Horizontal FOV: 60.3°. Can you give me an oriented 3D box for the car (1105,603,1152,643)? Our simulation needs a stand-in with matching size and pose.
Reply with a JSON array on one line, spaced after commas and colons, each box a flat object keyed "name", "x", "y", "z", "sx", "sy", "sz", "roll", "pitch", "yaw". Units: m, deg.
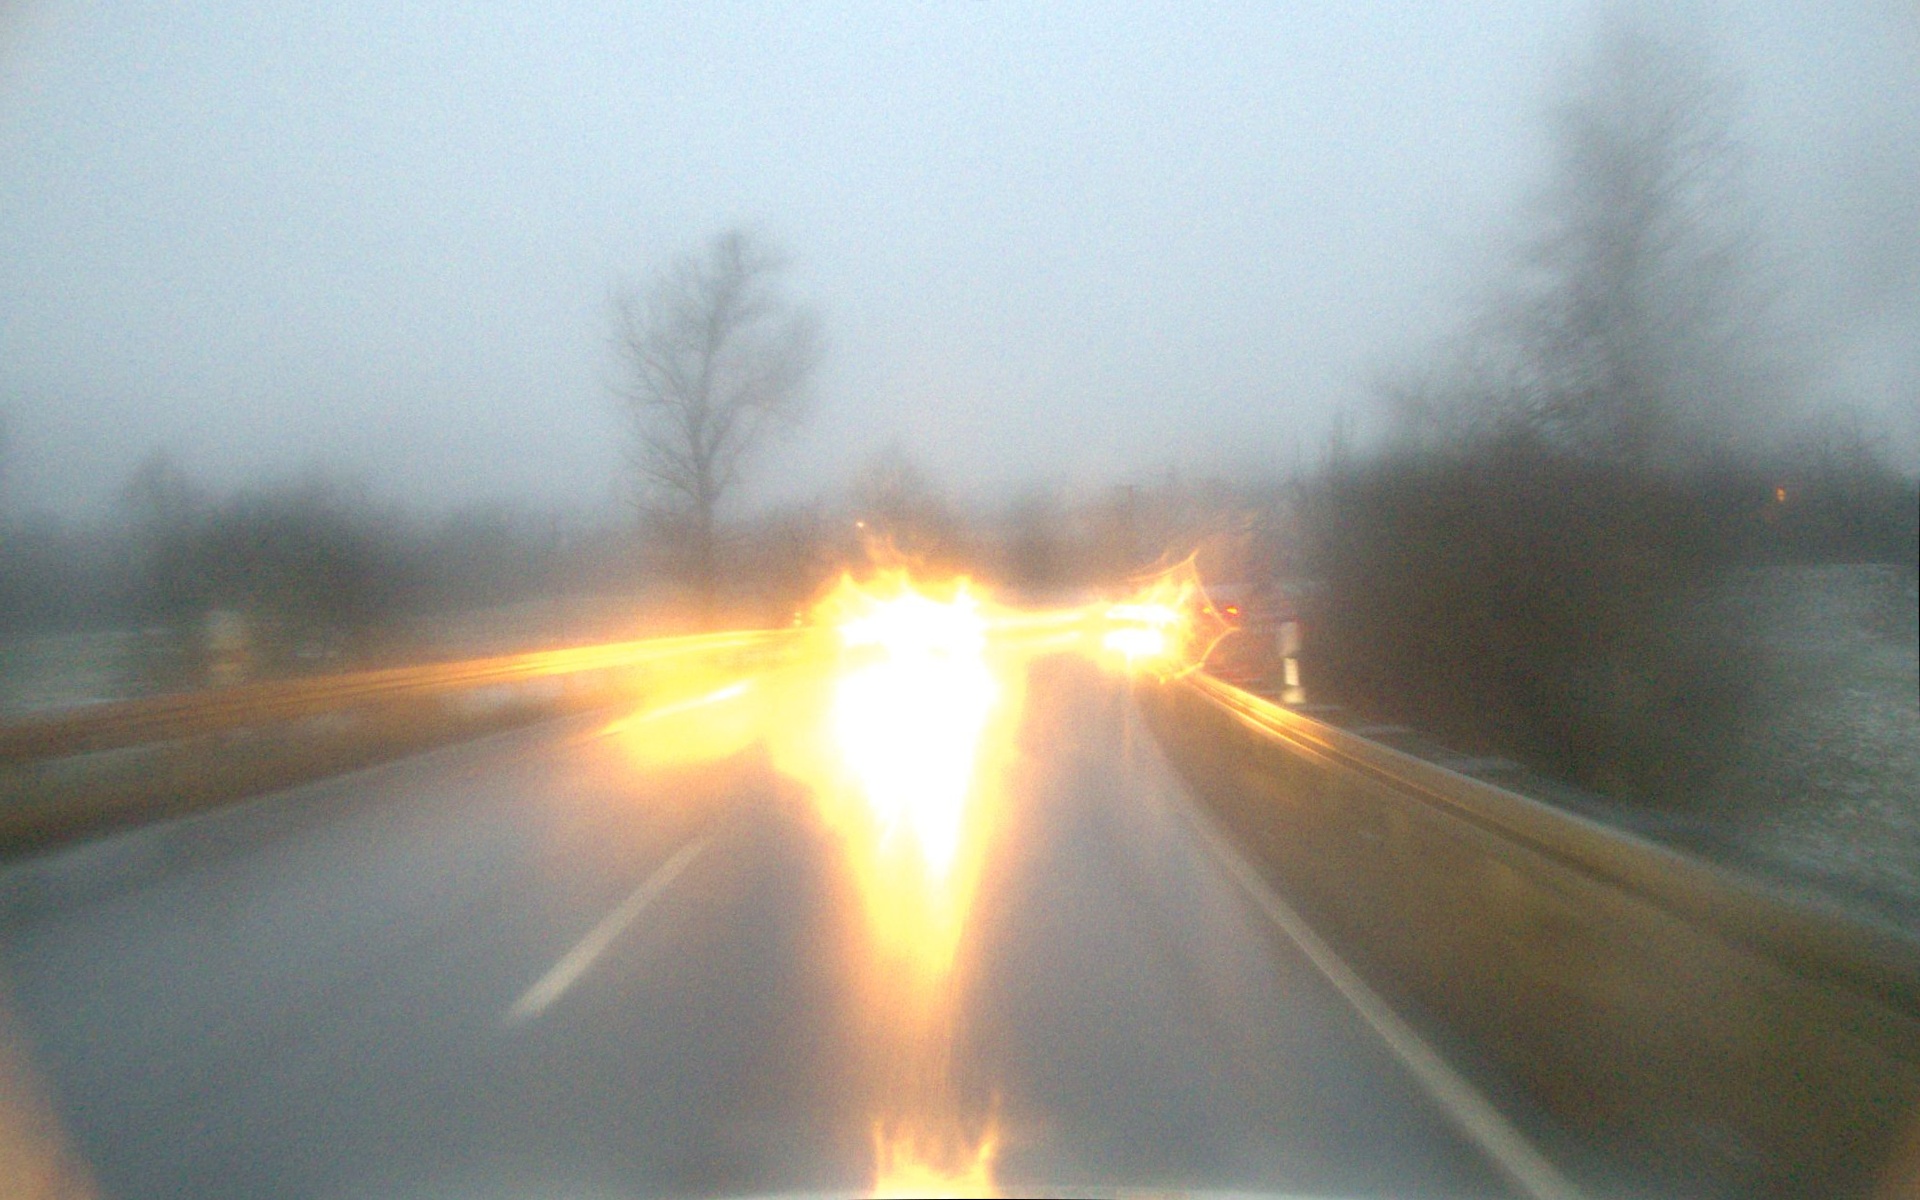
[{"name": "car", "x": 8.490, "y": 1.120, "z": 83.206, "sx": 1.843, "sy": 1.896, "sz": 5.011, "roll": 0, "pitch": 0, "yaw": 12}]

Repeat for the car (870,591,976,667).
[{"name": "car", "x": -0.797, "y": 0.634, "z": 39.090, "sx": 1.968, "sy": 1.663, "sz": 4.876, "roll": 0, "pitch": 0, "yaw": 5}]

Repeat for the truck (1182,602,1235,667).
[{"name": "truck", "x": 12.477, "y": 1.662, "z": 82.775, "sx": 2.478, "sy": 2.919, "sz": 5.928, "roll": 1, "pitch": 1, "yaw": 10}]
